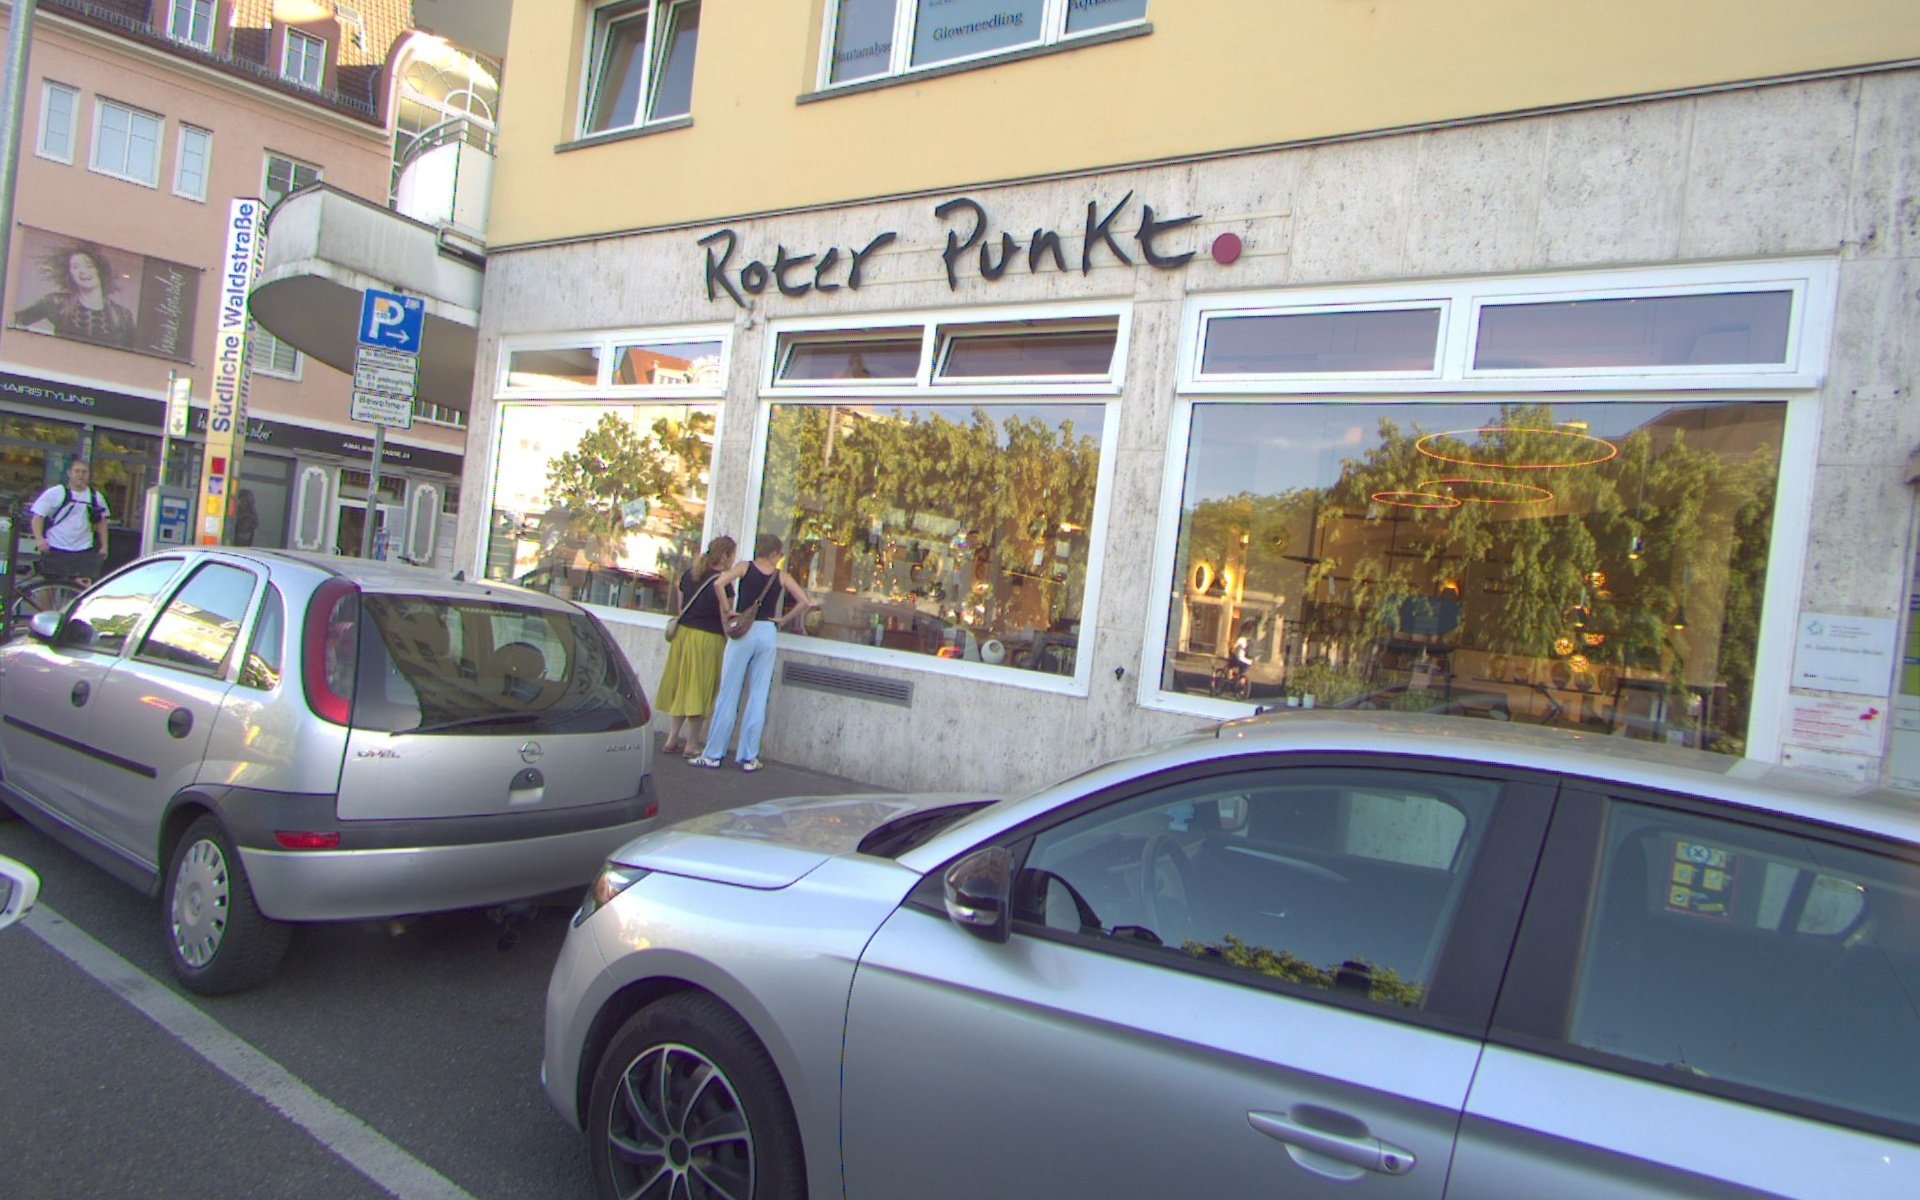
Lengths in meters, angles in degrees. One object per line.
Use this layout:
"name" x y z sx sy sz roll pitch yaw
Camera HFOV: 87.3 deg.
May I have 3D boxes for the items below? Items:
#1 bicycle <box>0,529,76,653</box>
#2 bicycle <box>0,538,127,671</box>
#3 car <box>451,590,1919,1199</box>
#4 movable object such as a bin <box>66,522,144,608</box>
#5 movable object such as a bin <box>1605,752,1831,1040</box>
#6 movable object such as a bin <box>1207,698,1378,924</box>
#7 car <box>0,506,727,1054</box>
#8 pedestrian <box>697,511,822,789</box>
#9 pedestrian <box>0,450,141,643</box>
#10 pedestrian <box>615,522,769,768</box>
"bicycle" -9.056 -0.148 8.797 0.642 1.072 1.816 7 -1 33
"bicycle" -8.165 0.006 8.253 0.642 1.057 1.884 7 0 33
"car" 0.780 0.945 2.280 3.624 1.453 1.587 6 -2 30
"movable object such as a bin" -11.957 -0.486 14.065 0.716 1.117 0.636 7 2 35
"movable object such as a bin" 3.373 1.268 4.546 0.639 1.035 0.738 6 -1 31
"movable object such as a bin" 1.825 1.099 5.476 0.639 1.035 0.738 6 -1 31
"car" -2.957 0.486 4.460 3.520 1.443 1.587 6 -2 32
"pedestrian" -1.481 0.342 7.317 0.672 1.874 0.890 4 2 -18
"pedestrian" -9.317 -0.552 10.475 0.967 1.844 0.809 6 -1 35
"pedestrian" -2.081 0.335 7.820 0.714 1.777 0.782 7 2 45
